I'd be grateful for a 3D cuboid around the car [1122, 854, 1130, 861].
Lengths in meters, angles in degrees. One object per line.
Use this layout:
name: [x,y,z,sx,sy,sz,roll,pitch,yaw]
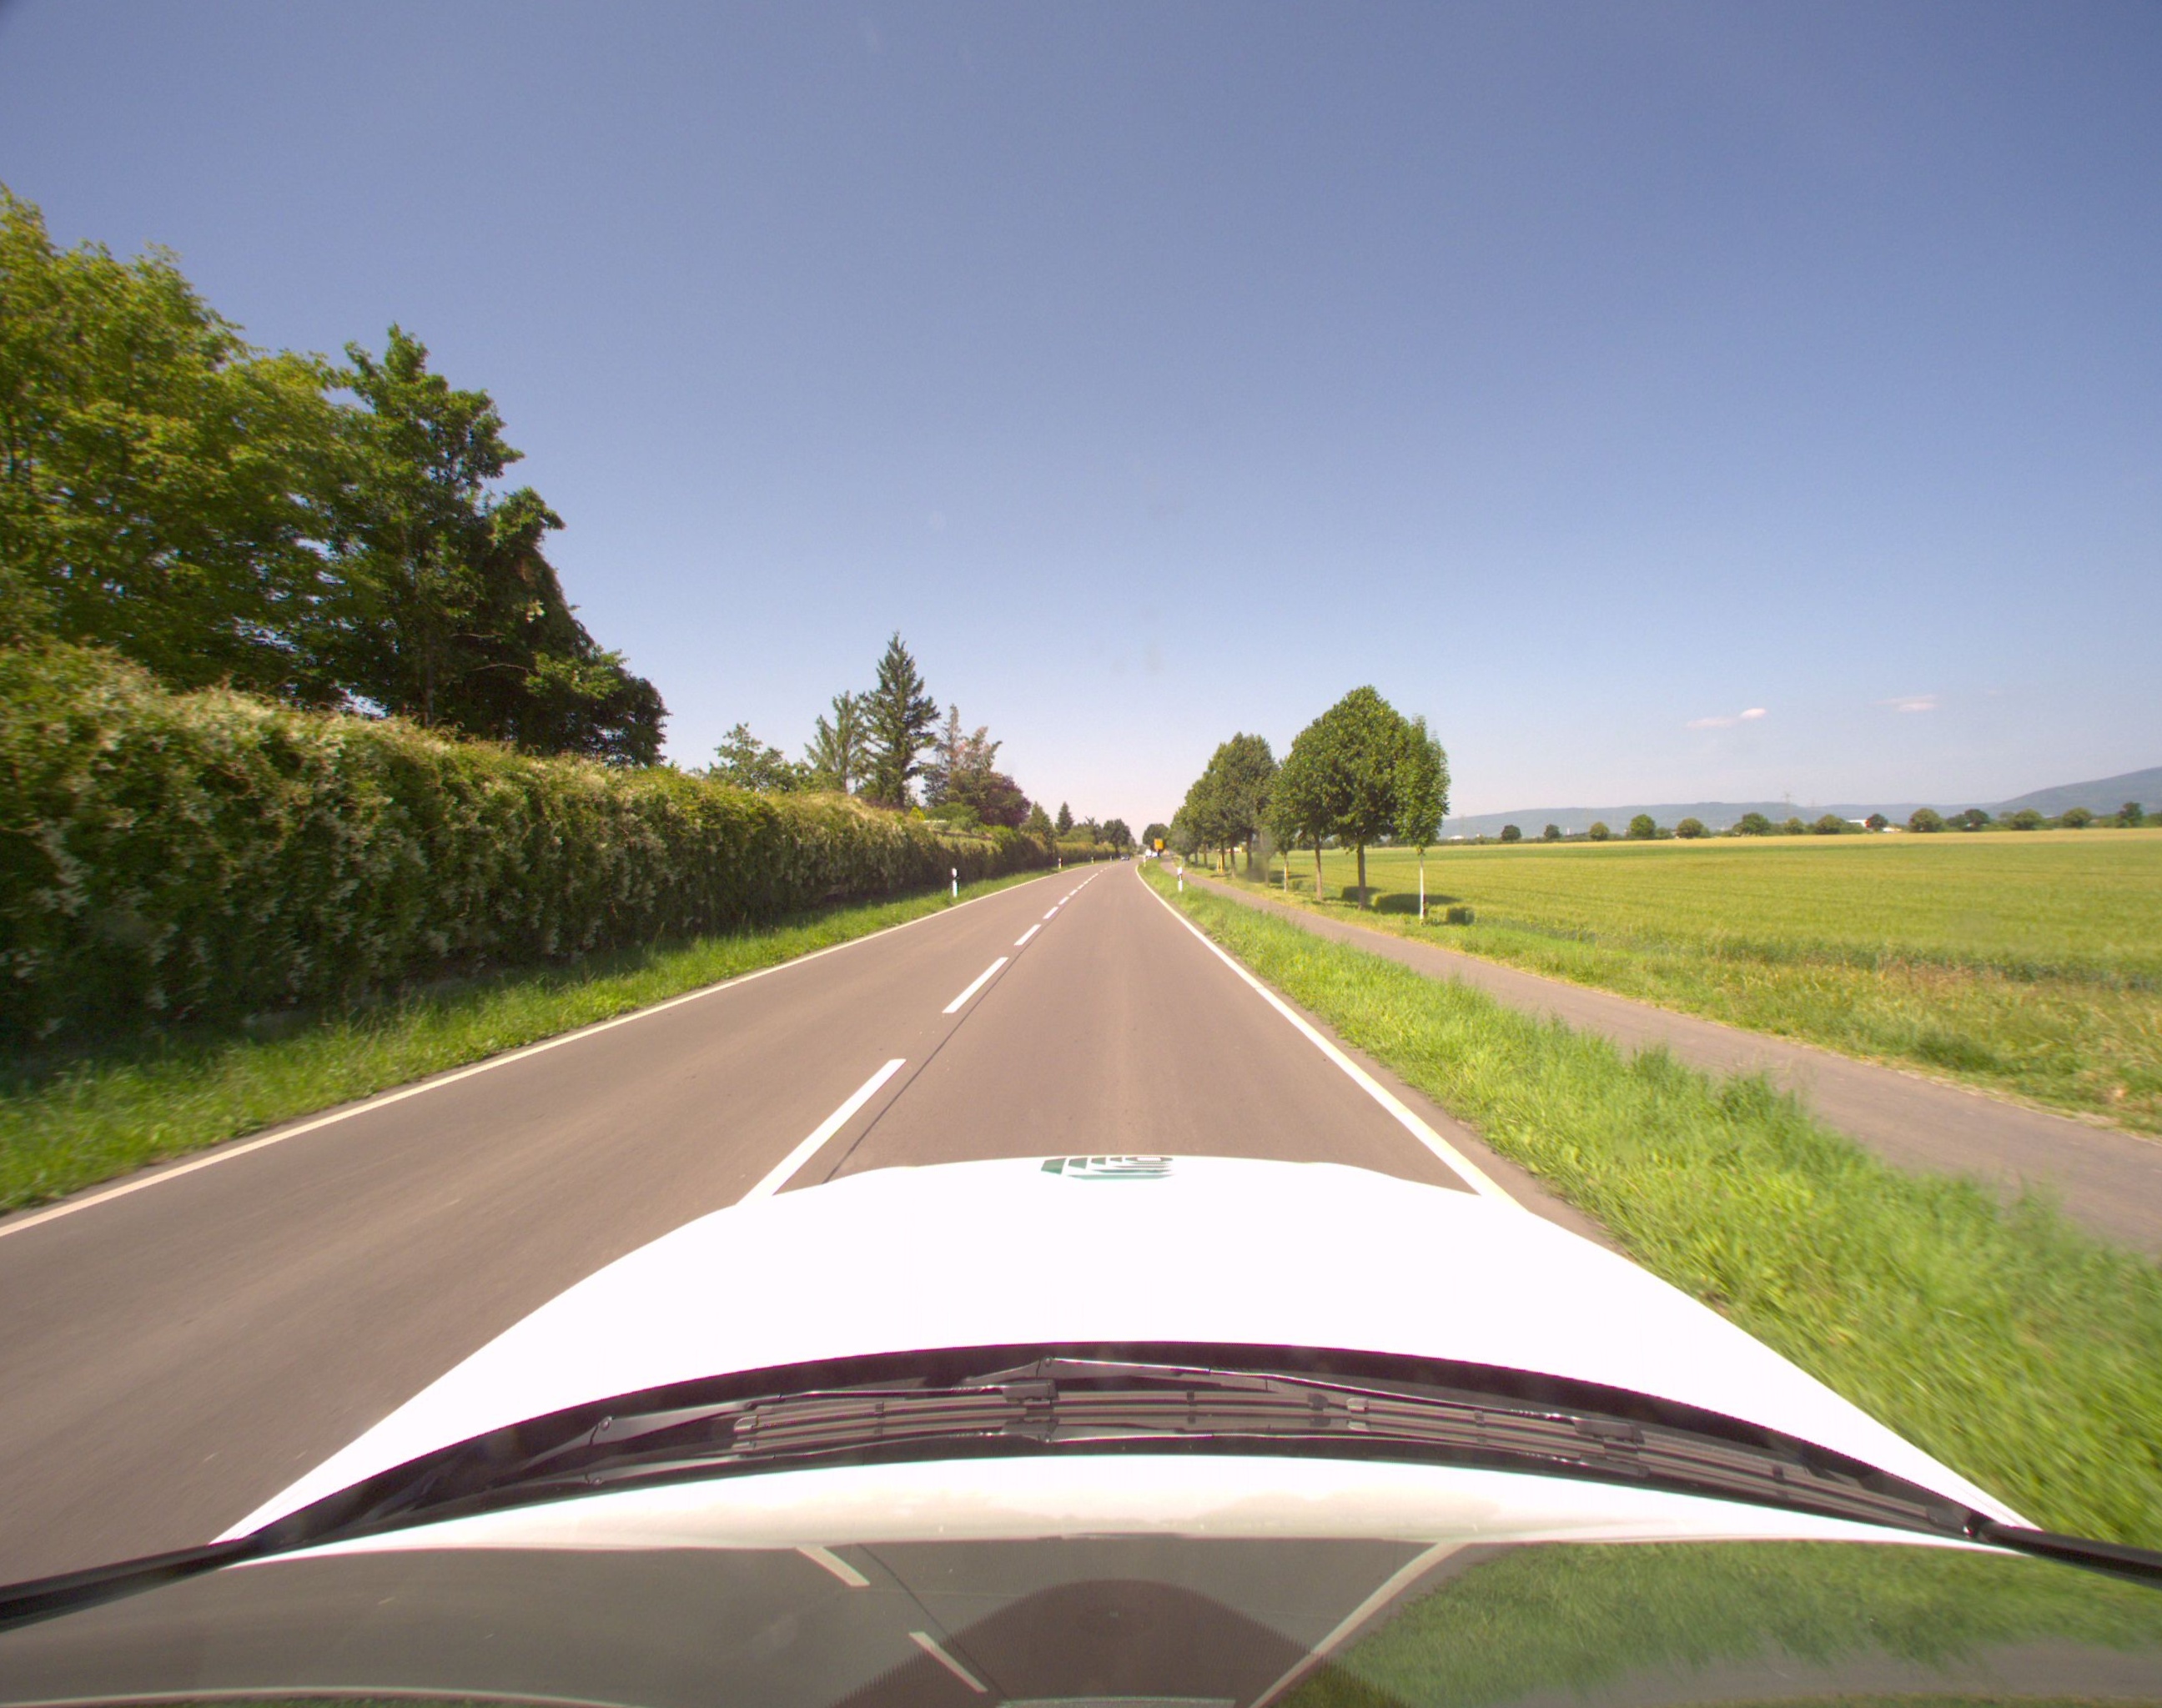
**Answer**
car: [10.444,0.759,190.267,1.832,1.467,3.935,-1,0,2]
